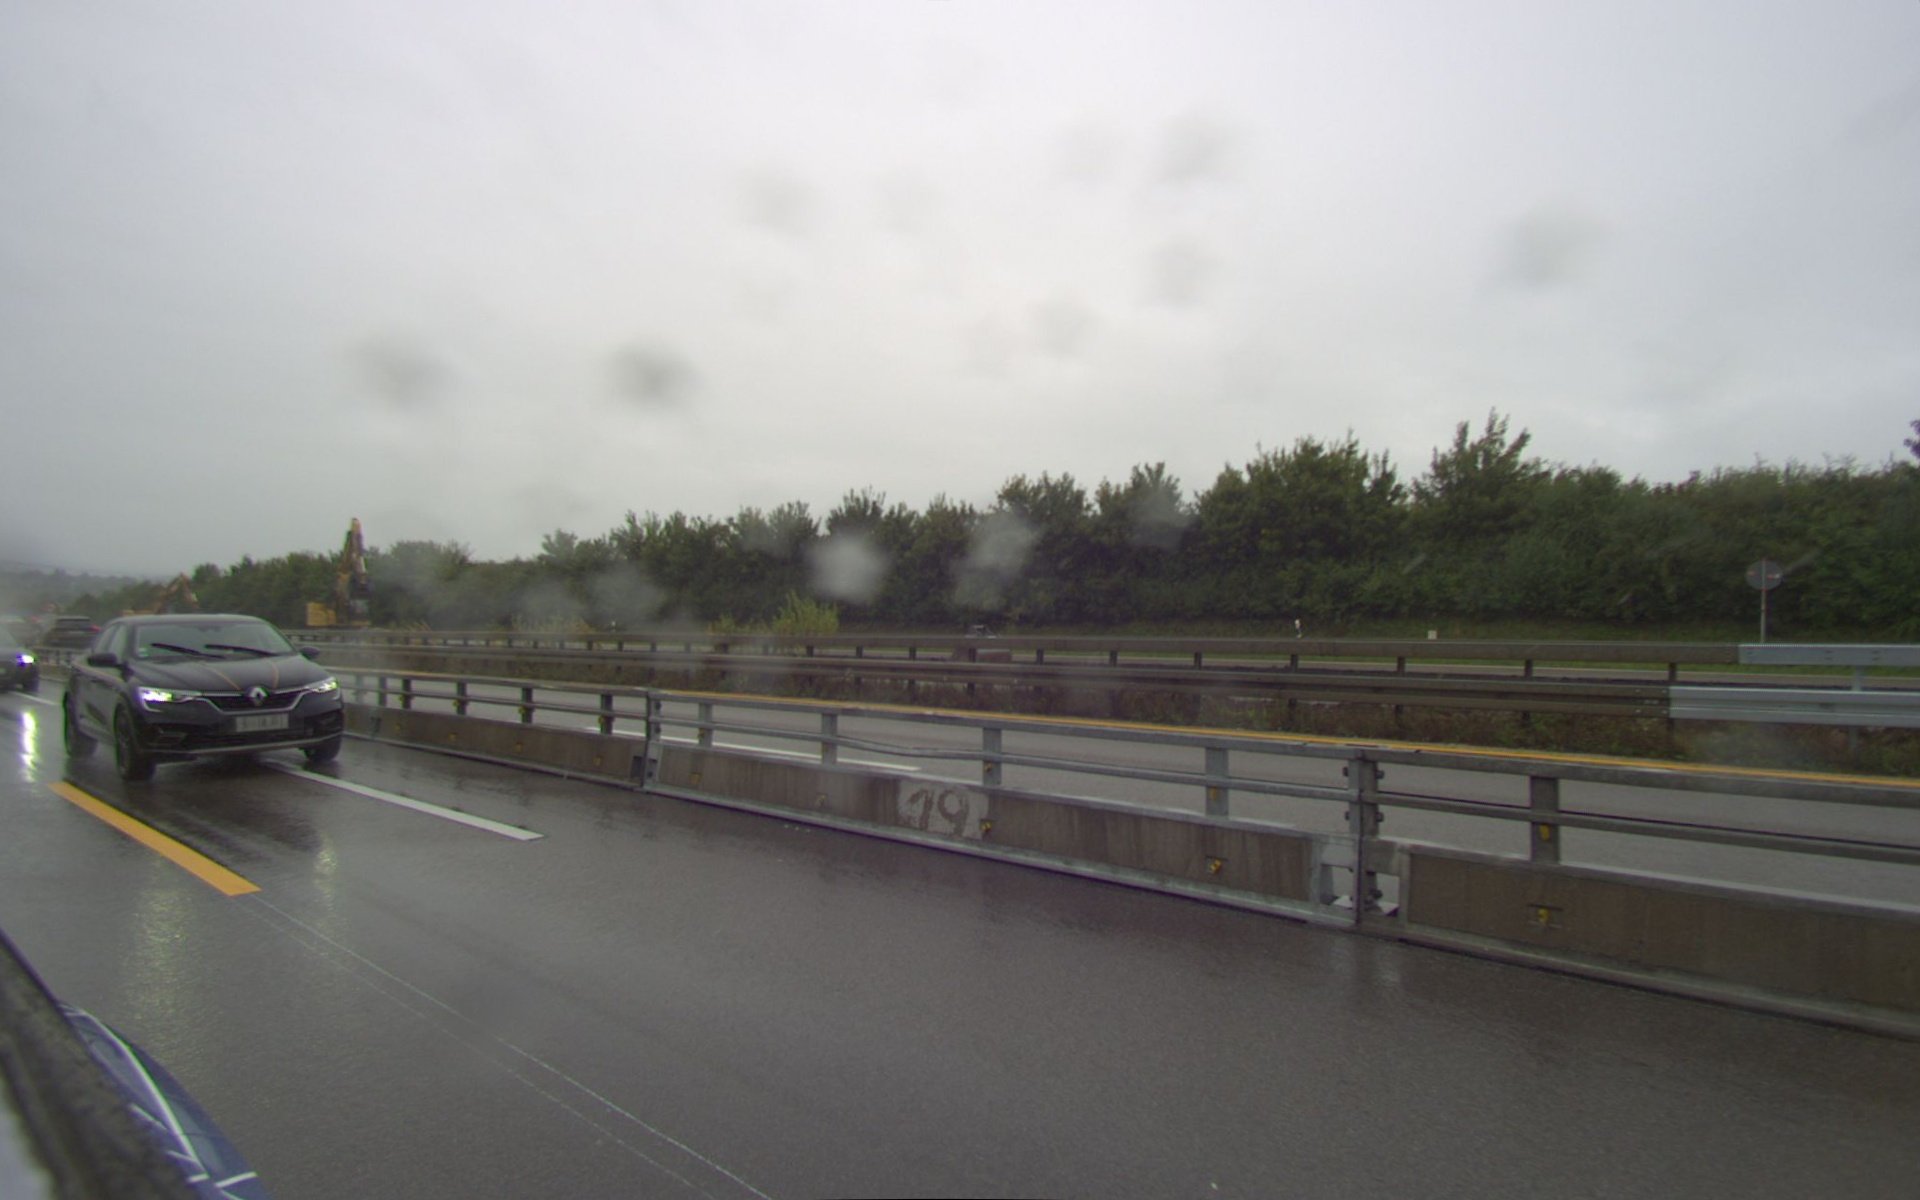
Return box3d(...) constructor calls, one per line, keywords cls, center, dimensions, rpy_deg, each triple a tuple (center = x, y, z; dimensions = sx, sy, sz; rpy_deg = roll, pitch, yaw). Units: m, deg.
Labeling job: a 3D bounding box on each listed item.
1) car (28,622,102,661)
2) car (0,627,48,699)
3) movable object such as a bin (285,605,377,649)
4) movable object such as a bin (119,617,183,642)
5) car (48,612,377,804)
box3d(cls="car", center=(-42.749, 1.933, 48.296), dimensions=(5.098, 1.730, 1.931), rpy_deg=(-1, -1, 40))
box3d(cls="car", center=(-22.237, 1.391, 22.722), dimensions=(4.626, 1.509, 1.974), rpy_deg=(-1, -1, 39))
box3d(cls="movable object such as a bin", center=(-43.567, 1.846, 70.049), dimensions=(6.326, 2.819, 3.726), rpy_deg=(-1, -1, 41))
box3d(cls="movable object such as a bin", center=(-76.253, 2.770, 95.375), dimensions=(5.087, 2.312, 3.410), rpy_deg=(-1, -1, 34))
box3d(cls="car", center=(-8.079, 0.963, 10.776), dimensions=(4.412, 1.597, 1.972), rpy_deg=(-1, -1, 42))
